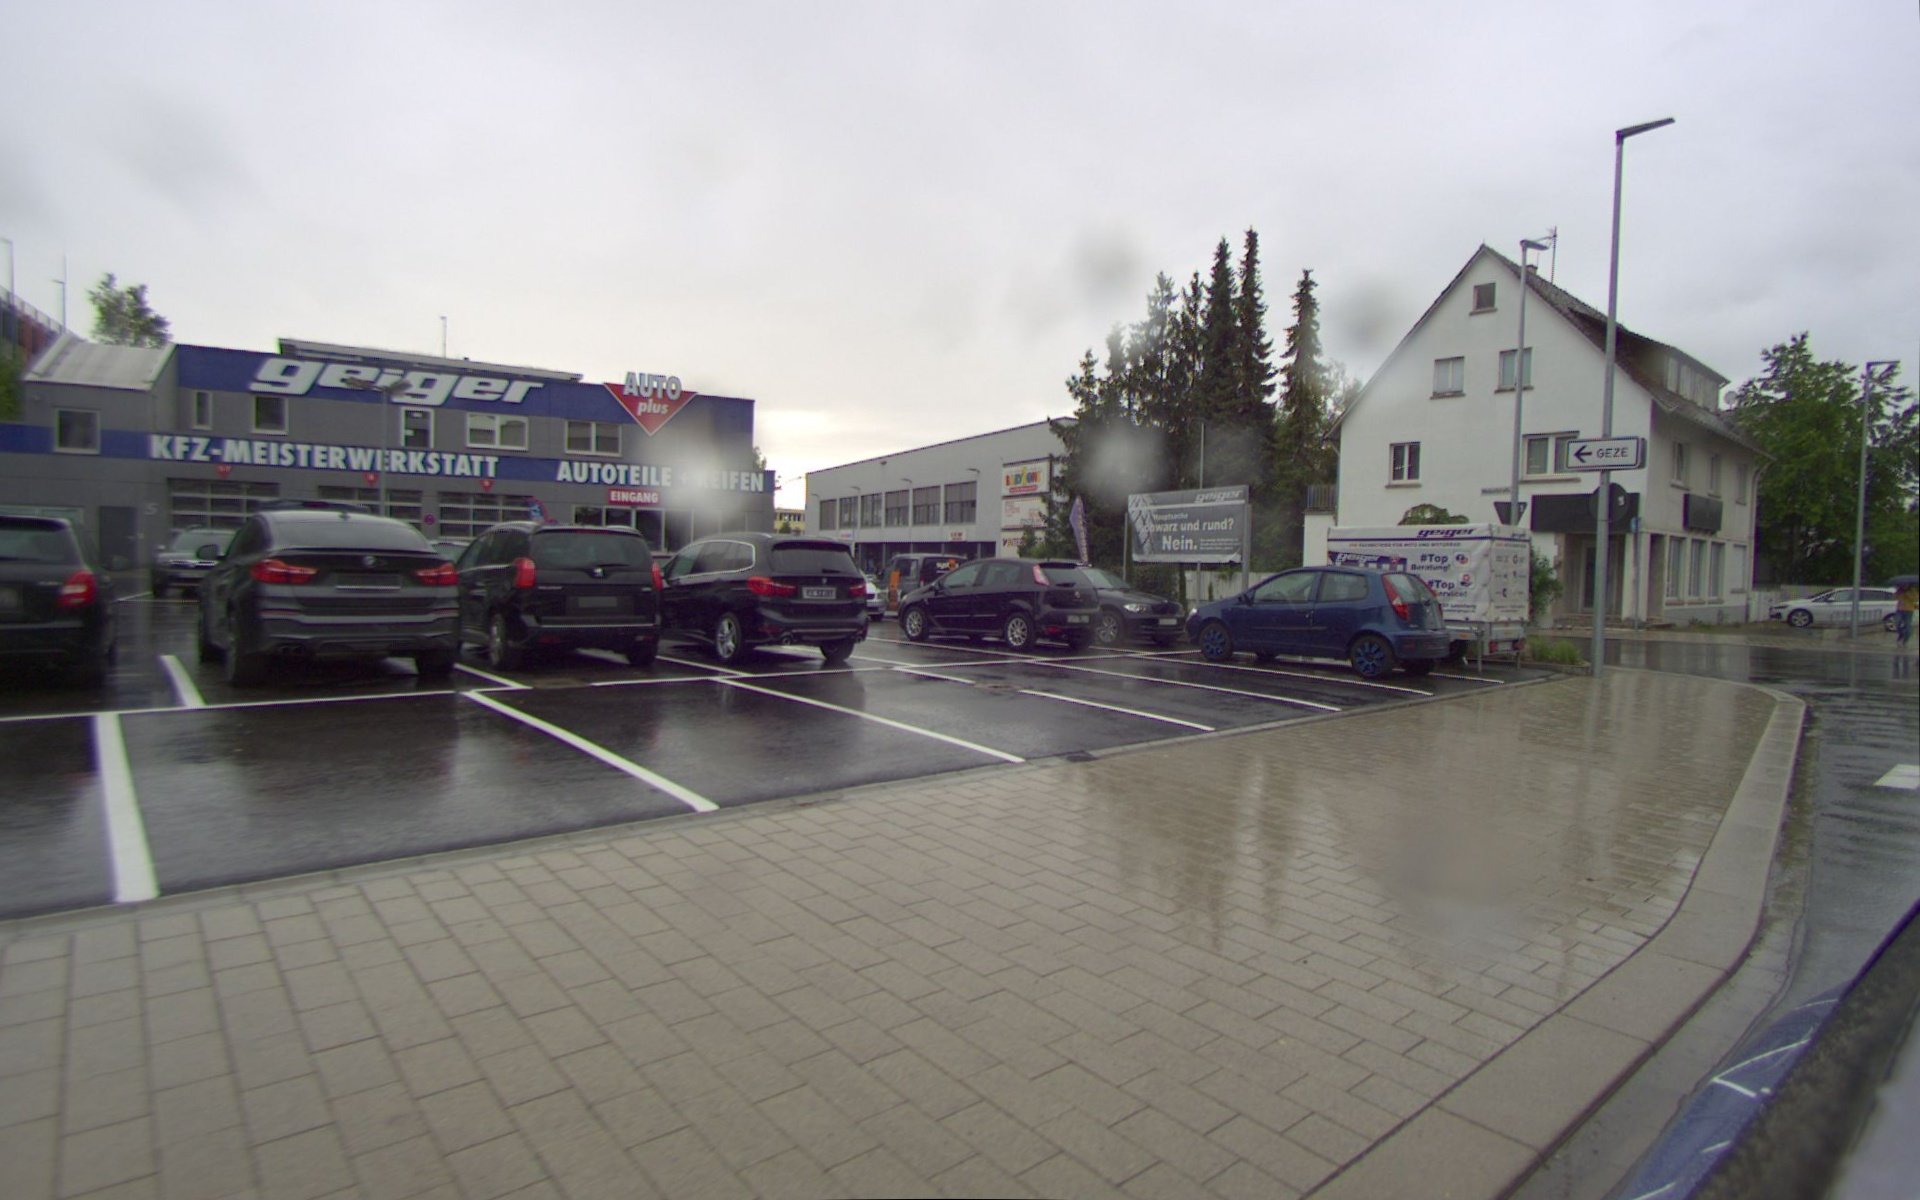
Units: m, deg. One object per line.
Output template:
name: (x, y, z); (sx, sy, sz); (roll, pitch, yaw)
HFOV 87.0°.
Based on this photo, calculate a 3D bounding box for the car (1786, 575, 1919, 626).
car: (33.183, -0.005, 37.225); (4.119, 1.599, 1.974); (5, 4, 36)

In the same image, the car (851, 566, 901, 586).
car: (-6.880, -1.930, 82.494); (3.688, 1.465, 1.615); (-2, 0, -25)

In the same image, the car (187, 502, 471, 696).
car: (-6.682, -0.128, 10.482); (1.808, 1.578, 4.363); (0, 3, -41)

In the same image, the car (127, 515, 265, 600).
car: (-18.550, -0.977, 24.776); (1.905, 1.839, 4.005); (-2, 0, -26)

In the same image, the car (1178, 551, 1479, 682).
car: (5.173, 0.122, 14.599); (1.621, 1.547, 3.735); (-1, 4, -40)

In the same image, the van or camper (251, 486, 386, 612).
van or camper: (-13.665, -1.105, 21.620); (2.179, 2.354, 4.977); (1, 3, -32)

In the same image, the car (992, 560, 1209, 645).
car: (2.496, -0.017, 18.630); (1.664, 1.331, 3.731); (0, 3, -43)

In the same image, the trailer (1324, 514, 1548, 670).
trailer: (7.345, -0.165, 15.754); (1.520, 2.198, 2.709); (0, 2, -38)

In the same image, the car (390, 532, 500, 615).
car: (-11.384, -0.643, 22.205); (1.828, 1.602, 4.375); (1, 3, -31)

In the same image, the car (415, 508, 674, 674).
car: (-5.269, -0.205, 12.486); (1.754, 1.678, 4.366); (0, 3, -39)

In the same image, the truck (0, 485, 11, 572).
truck: (-27.797, -1.851, 25.559); (5.203, 2.298, 2.001); (-2, 0, -31)

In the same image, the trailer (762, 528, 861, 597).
trailer: (-6.747, -1.595, 45.242); (2.875, 2.770, 5.899); (-2, 0, -24)

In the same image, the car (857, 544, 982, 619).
car: (-1.236, -0.579, 28.137); (1.854, 1.850, 4.501); (1, 3, -24)

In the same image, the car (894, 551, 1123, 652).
car: (0.731, -0.053, 17.092); (1.702, 1.467, 3.731); (0, 3, -43)

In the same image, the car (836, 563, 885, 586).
car: (-8.278, -2.102, 84.276); (3.688, 1.775, 1.615); (-2, 0, -25)

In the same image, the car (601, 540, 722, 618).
car: (-7.385, -0.566, 24.750); (1.828, 1.687, 4.146); (1, 3, -31)

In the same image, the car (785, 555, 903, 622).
car: (-3.159, -0.358, 26.868); (1.826, 1.515, 4.150); (1, 3, -26)

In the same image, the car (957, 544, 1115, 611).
car: (2.305, -0.665, 30.382); (4.401, 1.850, 1.896); (1, 3, -31)

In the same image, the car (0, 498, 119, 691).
car: (-8.801, -0.119, 9.300); (1.613, 1.519, 3.695); (0, 2, -40)

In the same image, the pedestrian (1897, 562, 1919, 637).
pedestrian: (26.714, -0.006, 28.046); (1.175, 2.037, 0.860); (0, 4, -42)

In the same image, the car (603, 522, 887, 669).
car: (-3.056, -0.164, 13.715); (1.813, 1.671, 4.362); (0, 3, -42)
